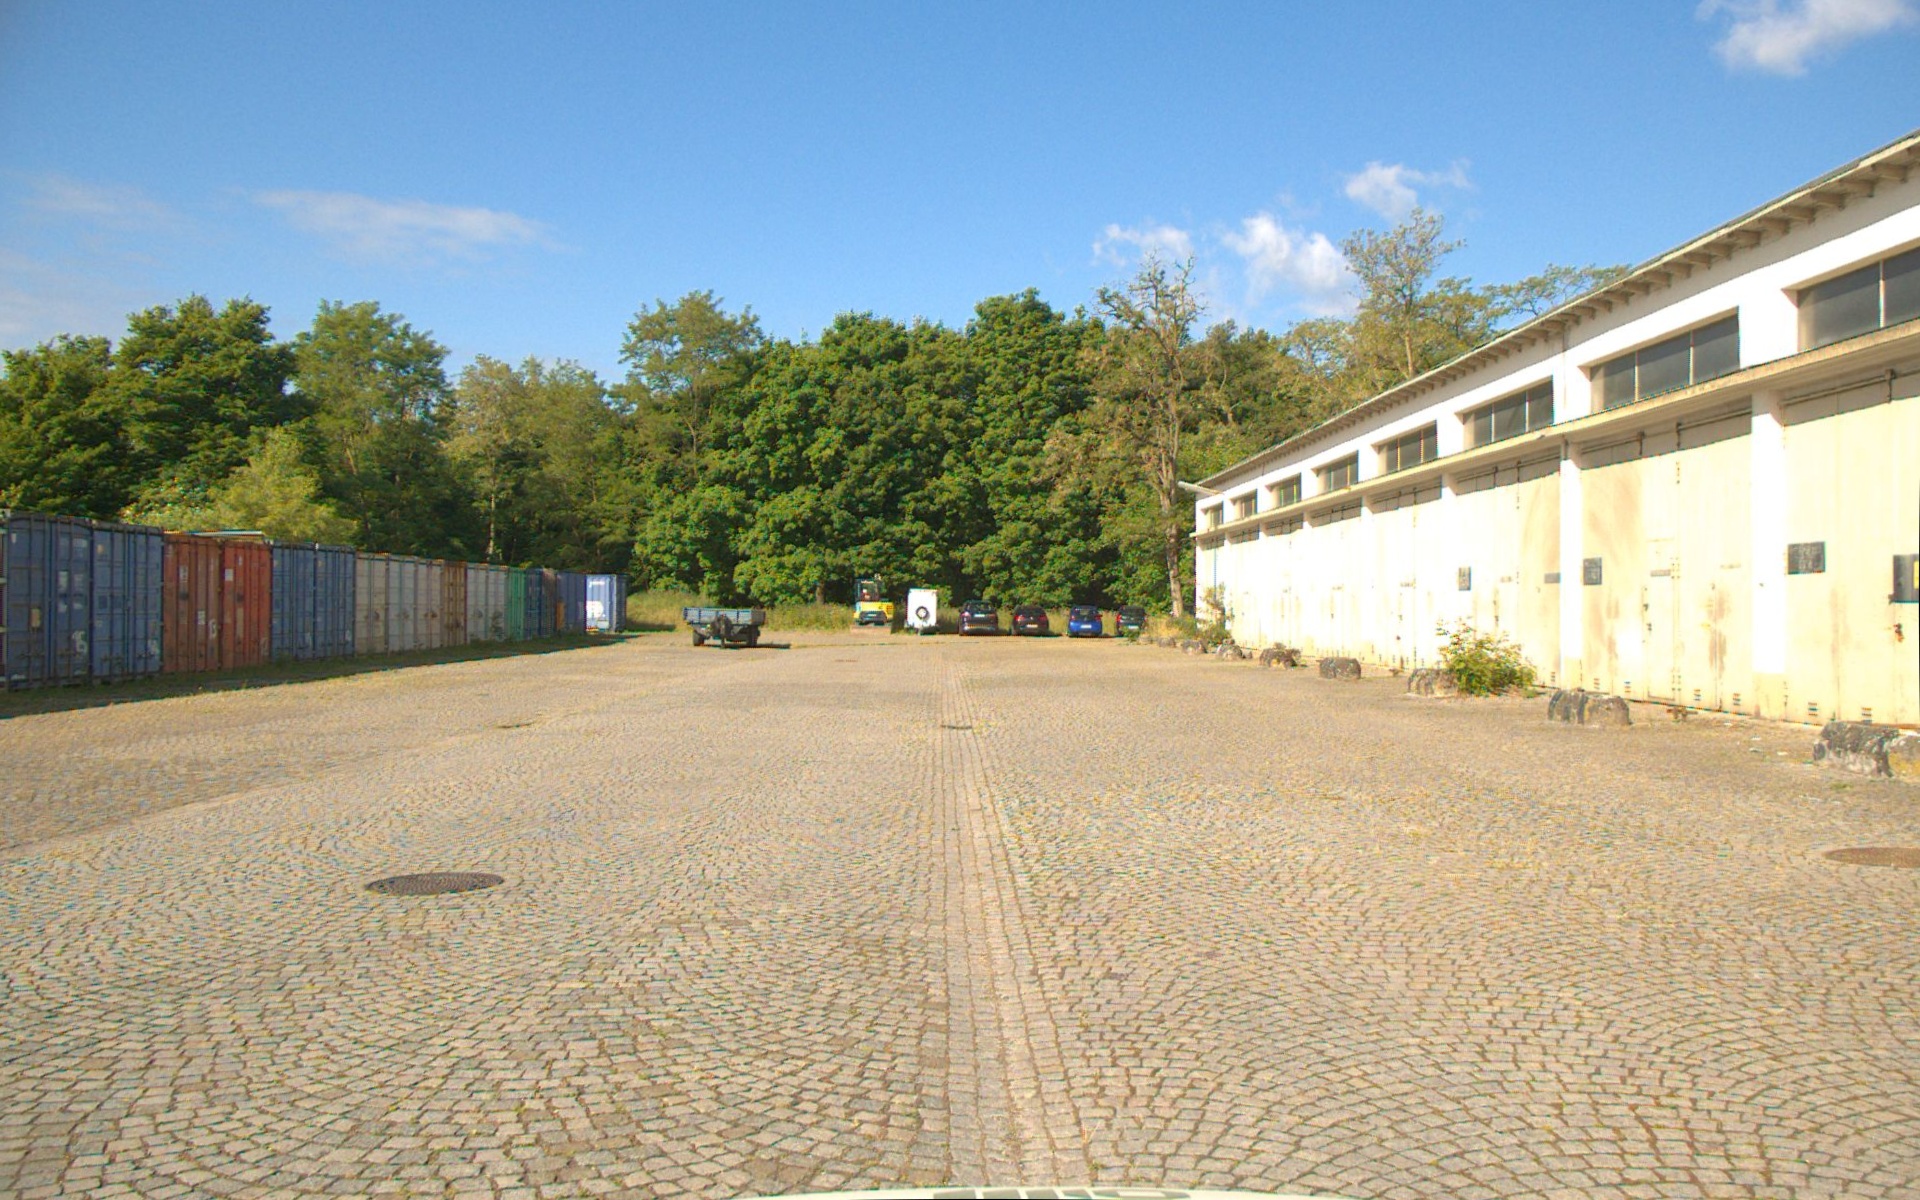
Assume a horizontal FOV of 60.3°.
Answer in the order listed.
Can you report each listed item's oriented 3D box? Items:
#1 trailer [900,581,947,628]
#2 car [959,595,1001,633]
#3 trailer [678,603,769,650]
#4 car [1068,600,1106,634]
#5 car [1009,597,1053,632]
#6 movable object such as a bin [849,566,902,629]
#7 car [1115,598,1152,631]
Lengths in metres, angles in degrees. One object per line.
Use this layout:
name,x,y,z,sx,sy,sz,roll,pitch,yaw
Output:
trailer,-1.764,0.194,80.849,2.148,2.131,5.750,1,1,-1
car,0.914,0.642,78.515,1.826,1.617,4.295,1,1,-1
trailer,-8.592,0.928,60.645,2.651,1.491,6.245,1,1,-2
car,6.061,0.770,78.907,1.707,1.461,4.185,1,1,4
car,3.350,0.661,78.922,1.826,1.496,4.295,1,1,-1
movable object such as a bin,-4.104,-0.164,81.405,2.259,2.947,5.751,1,1,0
car,8.448,0.686,80.354,1.707,1.461,4.186,1,1,6
